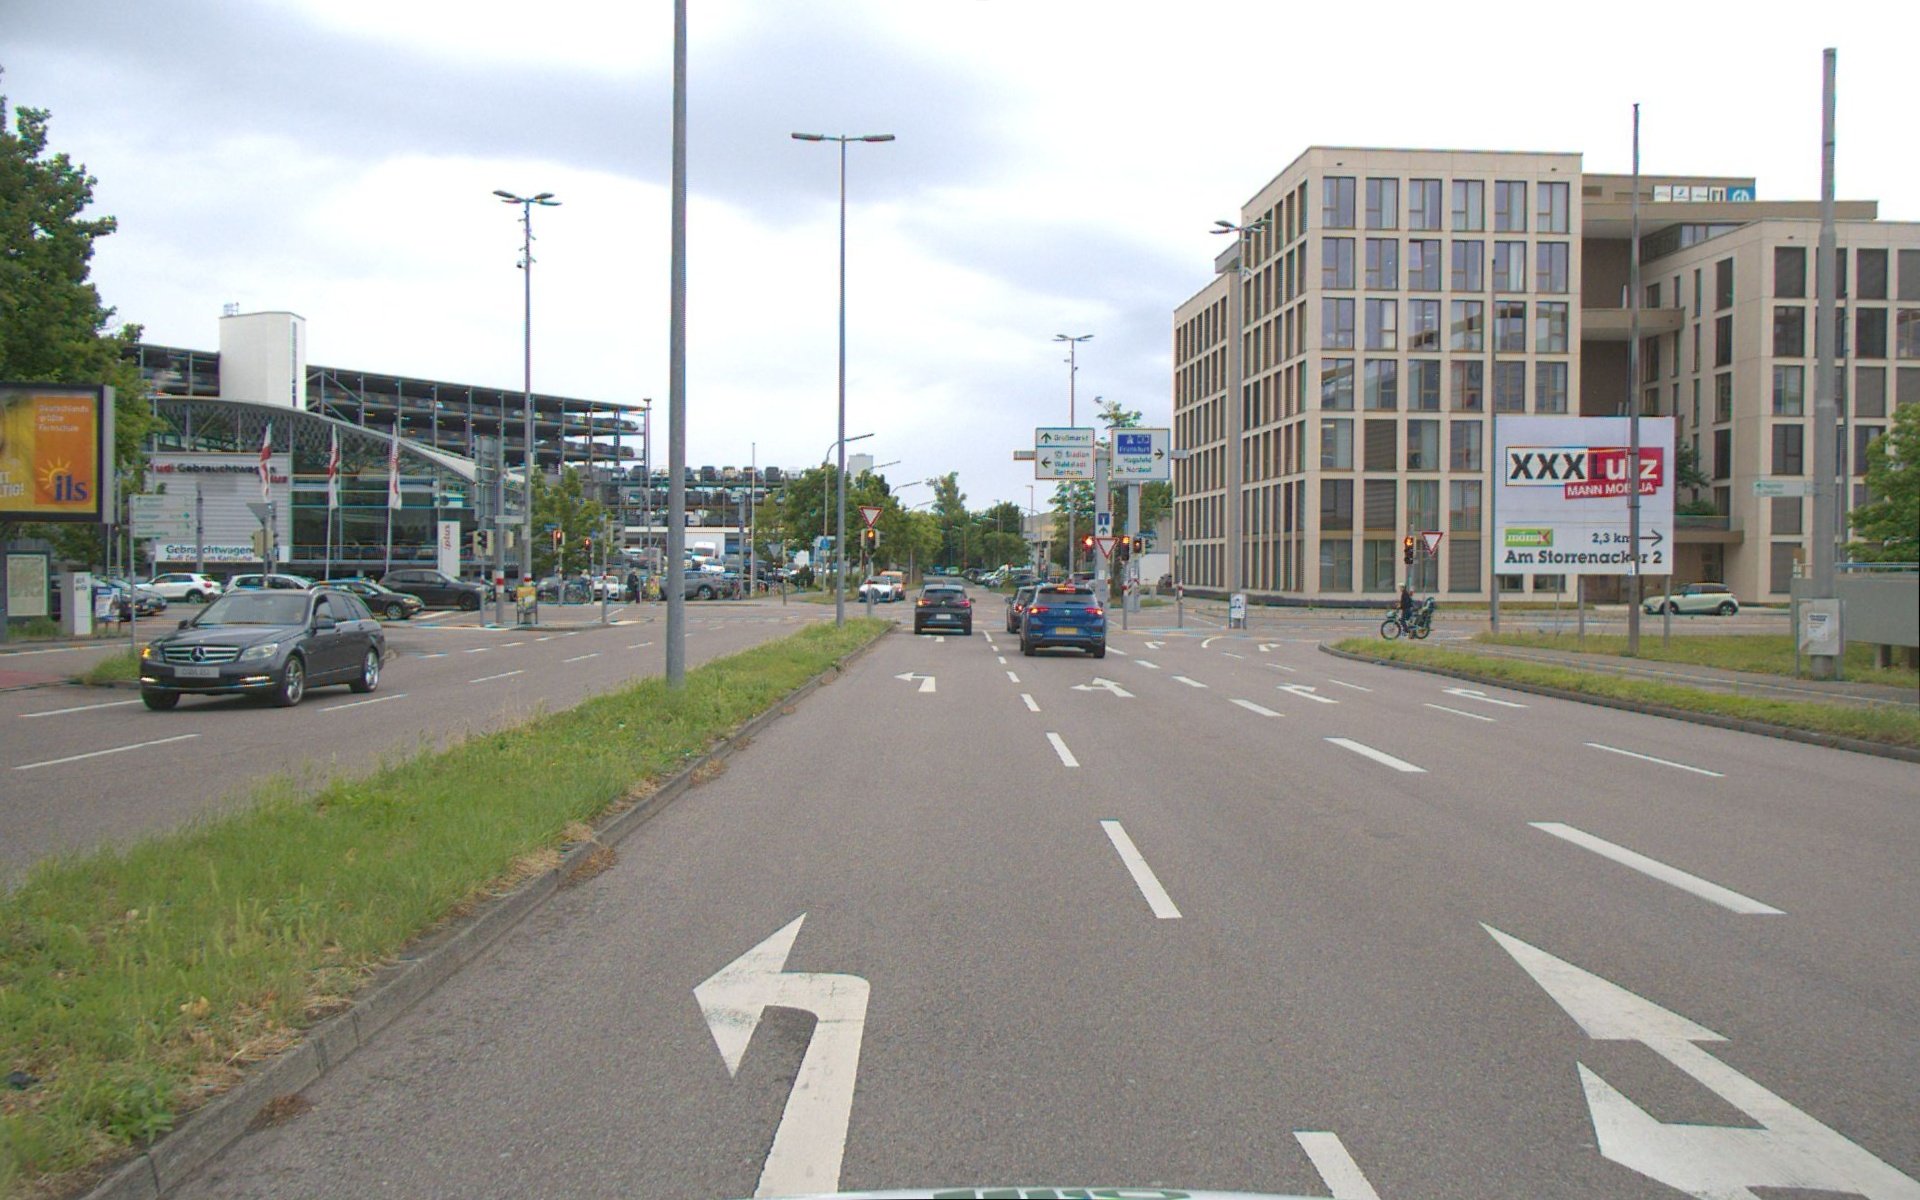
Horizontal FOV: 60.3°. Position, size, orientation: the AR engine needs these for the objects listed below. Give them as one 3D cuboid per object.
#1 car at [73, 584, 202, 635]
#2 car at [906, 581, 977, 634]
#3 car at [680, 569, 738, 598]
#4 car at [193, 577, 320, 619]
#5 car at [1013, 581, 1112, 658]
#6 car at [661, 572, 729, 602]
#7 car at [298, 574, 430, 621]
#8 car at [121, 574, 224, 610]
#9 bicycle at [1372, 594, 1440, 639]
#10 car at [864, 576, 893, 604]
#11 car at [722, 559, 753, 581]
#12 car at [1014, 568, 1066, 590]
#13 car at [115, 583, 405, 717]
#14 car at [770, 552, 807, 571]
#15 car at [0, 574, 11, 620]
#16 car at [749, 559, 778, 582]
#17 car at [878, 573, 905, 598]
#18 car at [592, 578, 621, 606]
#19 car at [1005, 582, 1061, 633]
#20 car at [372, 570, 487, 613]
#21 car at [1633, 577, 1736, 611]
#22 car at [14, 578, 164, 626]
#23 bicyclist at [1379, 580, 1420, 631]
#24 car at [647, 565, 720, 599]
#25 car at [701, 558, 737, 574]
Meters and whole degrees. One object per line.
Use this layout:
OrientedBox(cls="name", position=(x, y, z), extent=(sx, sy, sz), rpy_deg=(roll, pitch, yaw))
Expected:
OrientedBox(cls="car", position=(-31.940, 0.352, 64.325), extent=(3.911, 1.690, 1.998), rpy_deg=(-3, 2, -6))
OrientedBox(cls="car", position=(-0.589, 0.193, 49.373), extent=(1.948, 1.453, 4.239), rpy_deg=(1, 1, -3))
OrientedBox(cls="car", position=(-15.697, -1.030, 103.612), extent=(3.535, 1.696, 1.547), rpy_deg=(0, 2, -6))
OrientedBox(cls="car", position=(-27.516, -0.083, 64.814), extent=(4.168, 1.535, 1.997), rpy_deg=(0, 2, -8))
OrientedBox(cls="car", position=(2.228, 0.389, 36.832), extent=(1.798, 1.540, 3.999), rpy_deg=(2, 1, -2))
OrientedBox(cls="car", position=(-15.190, -0.764, 95.080), extent=(3.749, 1.617, 1.681), rpy_deg=(0, 2, -6))
OrientedBox(cls="car", position=(-22.334, -0.091, 62.134), extent=(4.333, 1.689, 1.997), rpy_deg=(1, 0, -8))
OrientedBox(cls="car", position=(-35.998, -0.369, 75.648), extent=(3.869, 1.595, 1.757), rpy_deg=(0, 2, -9))
OrientedBox(cls="bicycle", position=(13.729, 0.498, 50.960), extent=(0.696, 1.318, 1.981), rpy_deg=(0, 1, -41))
OrientedBox(cls="car", position=(-4.792, -0.584, 97.088), extent=(1.568, 1.478, 3.324), rpy_deg=(1, 3, -1))
OrientedBox(cls="car", position=(-18.388, -2.480, 136.814), extent=(1.738, 1.735, 3.919), rpy_deg=(1, 3, 4))
OrientedBox(cls="car", position=(6.006, -1.575, 124.582), extent=(3.528, 1.504, 1.761), rpy_deg=(1, 3, 19))
OrientedBox(cls="car", position=(-8.885, 0.560, 21.468), extent=(1.754, 1.505, 4.532), rpy_deg=(-1, 1, 1))
OrientedBox(cls="car", position=(-15.238, -3.438, 147.007), extent=(3.230, 1.669, 1.479), rpy_deg=(0, 2, -4))
OrientedBox(cls="car", position=(-39.388, -0.081, 63.764), extent=(4.348, 1.740, 1.998), rpy_deg=(0, 4, -7))
OrientedBox(cls="car", position=(-16.243, -2.462, 136.907), extent=(1.738, 1.735, 3.919), rpy_deg=(1, 3, 4))
OrientedBox(cls="car", position=(-4.351, -0.953, 105.239), extent=(1.568, 1.478, 3.324), rpy_deg=(1, 3, -1))
OrientedBox(cls="car", position=(-18.813, -0.418, 87.973), extent=(1.348, 1.349, 3.022), rpy_deg=(0, 3, -15))
OrientedBox(cls="car", position=(2.244, 0.212, 51.384), extent=(1.493, 1.457, 3.390), rpy_deg=(1, 1, -2))
OrientedBox(cls="car", position=(-22.004, -0.360, 68.791), extent=(4.324, 1.672, 1.995), rpy_deg=(0, 2, -12))
OrientedBox(cls="car", position=(34.281, -0.297, 78.328), extent=(4.104, 1.516, 1.696), rpy_deg=(1, 2, 3))
OrientedBox(cls="car", position=(-32.092, 0.056, 61.052), extent=(4.458, 1.688, 1.997), rpy_deg=(-1, 1, -8))
OrientedBox(cls="bicyclist", position=(13.583, 0.161, 51.125), extent=(0.696, 1.530, 0.985), rpy_deg=(0, 1, -41))
OrientedBox(cls="car", position=(-15.536, -1.030, 92.915), extent=(3.910, 1.821, 1.845), rpy_deg=(0, 2, -6))
OrientedBox(cls="car", position=(-24.431, -3.421, 167.444), extent=(3.594, 1.555, 1.612), rpy_deg=(0, 2, -8))
